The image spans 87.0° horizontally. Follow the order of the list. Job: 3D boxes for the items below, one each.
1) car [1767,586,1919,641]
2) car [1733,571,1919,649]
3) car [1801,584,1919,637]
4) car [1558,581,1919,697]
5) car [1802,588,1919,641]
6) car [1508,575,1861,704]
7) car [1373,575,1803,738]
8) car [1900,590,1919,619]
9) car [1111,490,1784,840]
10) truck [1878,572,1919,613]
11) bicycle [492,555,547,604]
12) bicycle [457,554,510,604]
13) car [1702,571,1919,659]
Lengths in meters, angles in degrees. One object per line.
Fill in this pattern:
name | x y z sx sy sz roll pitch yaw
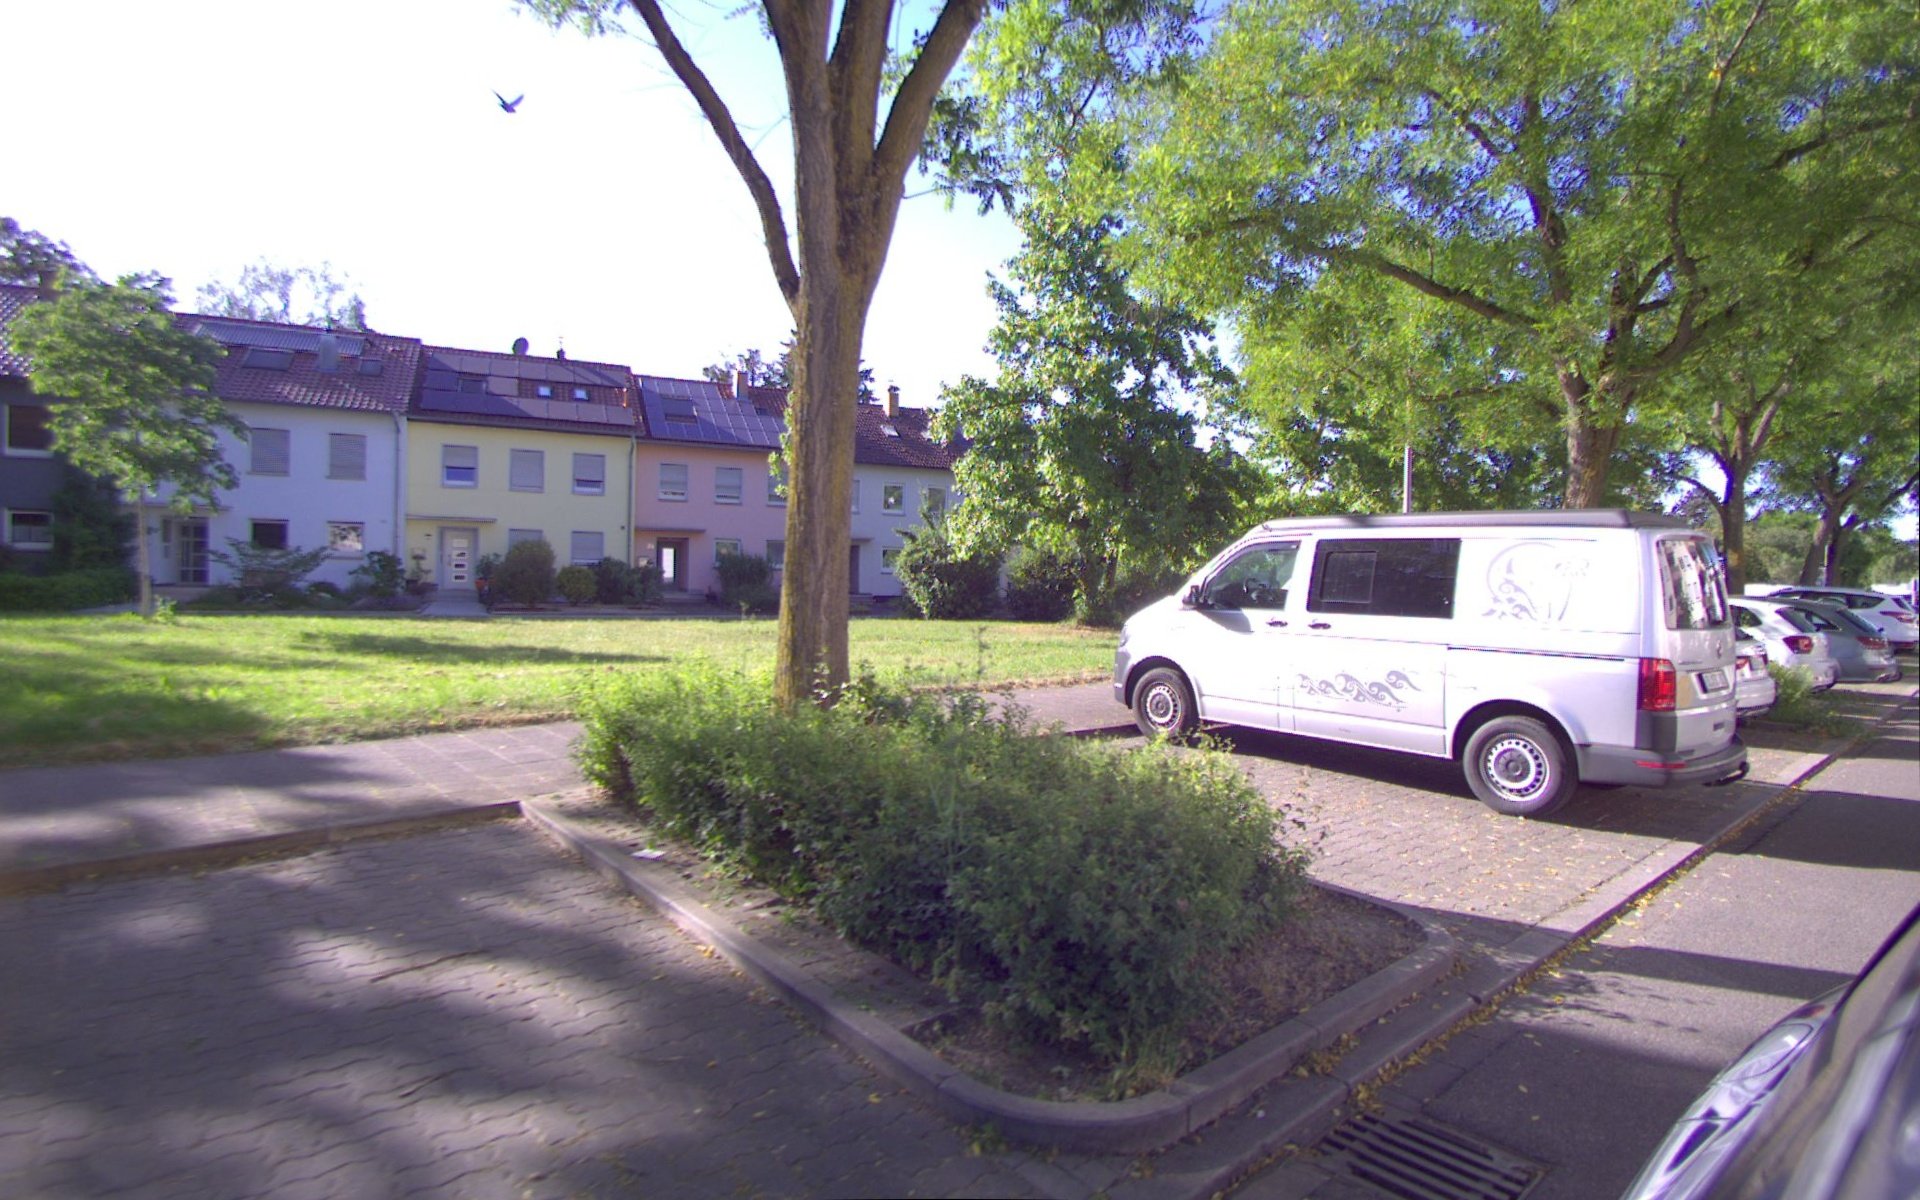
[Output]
car | 28.288 0.392 32.002 4.142 1.425 1.717 6 4 45
car | 24.874 0.228 28.770 4.431 1.945 1.719 4 3 42
car | 32.204 0.363 35.433 1.717 1.572 4.046 0 4 -45
car | 12.570 0.518 16.544 1.716 1.489 4.486 0 3 -43
car | 30.785 0.460 33.766 4.043 1.679 1.717 1 1 45
car | 10.532 0.473 14.957 1.607 1.452 3.917 0 4 -40
car | 7.116 0.515 11.832 1.606 1.453 3.919 0 3 -38
car | 57.717 0.271 60.723 1.769 1.634 3.989 5 4 43
car | 3.604 0.254 8.246 1.985 2.041 4.462 0 3 -40
truck | 70.622 -0.563 75.599 2.757 2.835 8.139 5 4 43
bicycle | -13.817 -0.630 31.695 0.810 1.461 2.916 0 1 -39
bicycle | -14.854 -0.649 31.501 0.810 1.492 2.916 0 1 -39
car | 19.745 0.280 23.272 1.716 1.786 4.047 0 2 -43
